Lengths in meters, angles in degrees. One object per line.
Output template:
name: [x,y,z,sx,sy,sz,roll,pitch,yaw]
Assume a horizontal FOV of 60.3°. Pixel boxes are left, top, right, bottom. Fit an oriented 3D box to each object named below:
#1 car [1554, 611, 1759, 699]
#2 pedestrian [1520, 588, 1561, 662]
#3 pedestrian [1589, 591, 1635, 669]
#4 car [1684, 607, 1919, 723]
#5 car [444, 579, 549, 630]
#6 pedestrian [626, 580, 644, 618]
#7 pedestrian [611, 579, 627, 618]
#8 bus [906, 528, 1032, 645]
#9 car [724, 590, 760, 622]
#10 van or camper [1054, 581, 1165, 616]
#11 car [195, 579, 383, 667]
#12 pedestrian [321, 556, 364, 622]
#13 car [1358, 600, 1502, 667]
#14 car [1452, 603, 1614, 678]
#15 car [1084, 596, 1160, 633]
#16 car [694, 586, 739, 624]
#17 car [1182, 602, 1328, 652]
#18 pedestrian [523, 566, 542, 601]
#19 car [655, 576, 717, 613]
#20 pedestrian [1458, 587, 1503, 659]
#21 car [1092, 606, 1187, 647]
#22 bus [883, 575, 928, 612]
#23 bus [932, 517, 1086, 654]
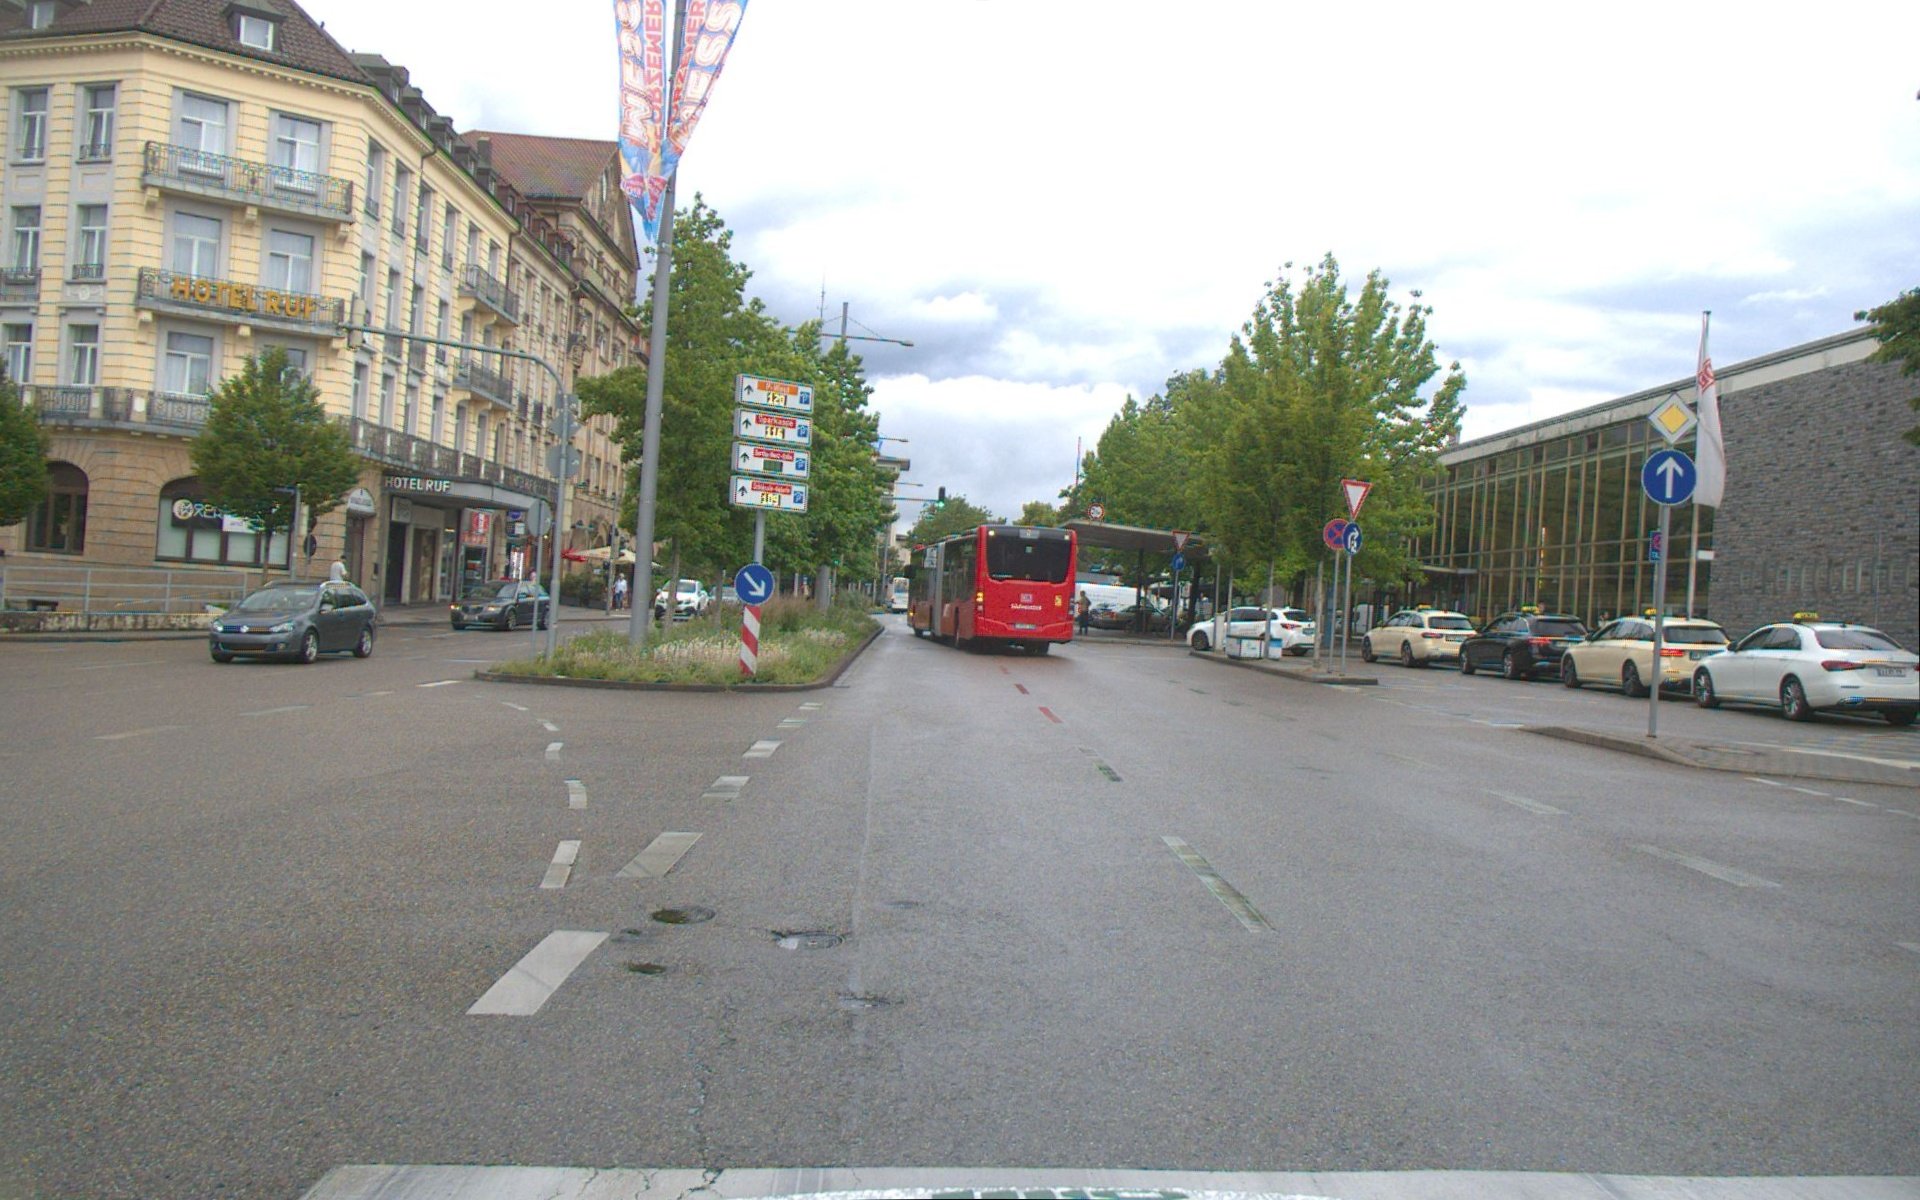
car: [13.245,0.992,31.781,1.809,1.477,4.664,1,0,-2]
pedestrian: [16.535,0.705,47.141,0.795,2.049,0.921,2,0,0]
pedestrian: [17.618,0.797,44.711,0.795,2.049,0.921,2,0,-2]
car: [13.375,0.948,26.065,1.739,1.617,4.614,1,0,-2]
car: [-13.585,0.108,48.704,1.718,1.393,4.062,2,1,3]
pedestrian: [-14.920,-0.049,75.985,0.661,1.731,0.633,2,0,-1]
pedestrian: [-15.687,-0.083,76.032,0.563,1.762,0.609,2,0,-1]
bus: [0.099,-0.403,51.900,2.690,3.229,10.180,1,0,-6]
car: [-13.236,0.363,100.658,1.955,1.822,3.996,2,0,-5]
van or camper: [9.346,-0.076,102.944,6.675,2.049,2.364,1,-1,-27]
car: [-12.419,0.378,30.880,1.718,1.466,4.061,2,1,2]
pedestrian: [-18.392,-0.327,49.265,0.845,1.911,1.022,2,0,-1]
car: [12.554,0.854,44.479,1.956,1.628,4.814,1,0,-8]
car: [13.055,0.888,38.002,1.875,1.551,4.740,1,0,-3]
car: [9.470,0.858,96.782,3.929,2.049,1.988,2,0,-21]
car: [-12.093,0.261,82.374,1.955,1.789,3.995,2,0,-6]
car: [9.096,0.817,51.193,1.764,1.409,4.303,1,0,-41]
pedestrian: [-19.221,-0.744,74.314,0.656,1.537,0.512,2,0,-39]
car: [-11.164,-0.253,67.694,1.718,1.393,4.061,2,2,2]
pedestrian: [15.020,0.664,47.717,0.801,2.049,0.914,2,0,-25]
car: [8.946,1.312,82.397,4.273,1.890,1.988,2,0,-21]
bus: [-5.225,-0.615,156.000,3.686,3.265,15.513,1,0,-4]
bus: [1.129,-0.364,43.983,2.692,3.229,8.105,1,0,-8]
